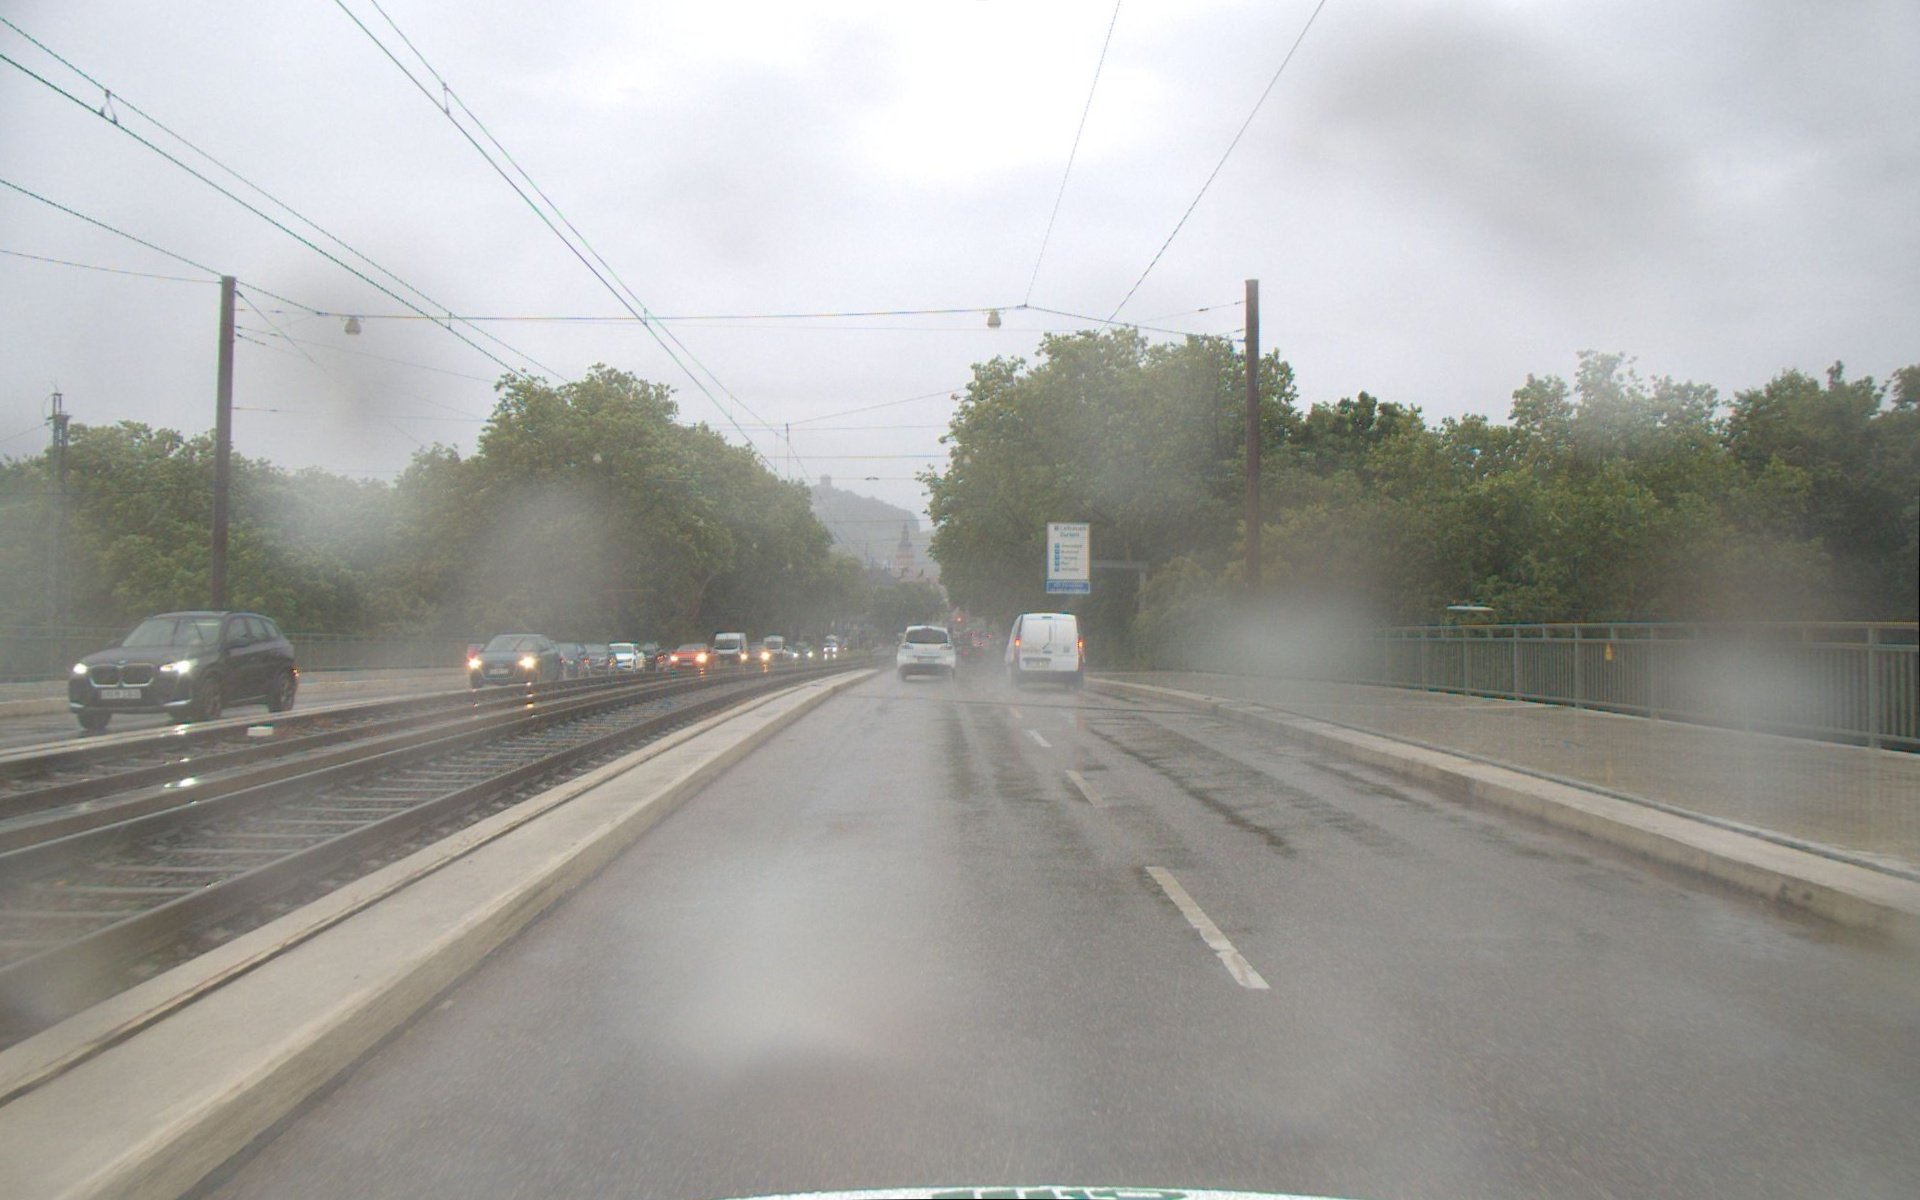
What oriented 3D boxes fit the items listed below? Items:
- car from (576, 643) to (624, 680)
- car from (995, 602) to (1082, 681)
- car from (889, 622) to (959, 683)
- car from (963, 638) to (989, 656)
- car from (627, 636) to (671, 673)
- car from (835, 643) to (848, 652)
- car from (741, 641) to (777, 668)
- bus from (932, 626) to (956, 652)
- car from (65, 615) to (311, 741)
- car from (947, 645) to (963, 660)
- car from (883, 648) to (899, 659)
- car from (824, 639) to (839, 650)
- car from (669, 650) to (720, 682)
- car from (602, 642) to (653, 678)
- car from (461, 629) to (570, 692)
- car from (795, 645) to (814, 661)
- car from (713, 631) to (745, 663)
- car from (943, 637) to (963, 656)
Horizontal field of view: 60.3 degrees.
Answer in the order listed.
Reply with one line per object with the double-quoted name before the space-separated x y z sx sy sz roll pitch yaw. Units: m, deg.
"car" -15.422 2.627 70.997 1.477 1.425 4.403 -2 -1 -5
"car" 1.850 0.984 40.034 1.952 1.756 4.000 1 -1 1
"car" -1.060 1.578 50.751 1.952 1.747 4.000 1 -1 1
"car" 1.247 3.665 129.537 1.952 1.344 4.000 1 -1 1
"car" -15.672 2.721 83.509 1.475 1.701 4.831 -2 -1 -2
"car" -18.415 7.421 257.819 1.768 1.374 4.262 -2 -1 -1
"car" -12.927 3.494 106.599 1.779 1.392 4.265 1 2 0
"bus" -2.505 6.001 257.930 3.320 3.904 9.739 1 -1 1
"car" -11.341 1.092 24.624 1.781 1.683 3.999 1 -1 -1
"car" -0.600 6.745 213.621 1.952 1.859 4.000 1 -1 1
"car" -10.006 7.736 238.973 1.767 1.374 4.266 -2 -1 4
"car" -18.073 6.287 233.156 1.768 1.374 4.262 -2 -1 -1
"car" -12.380 3.086 77.315 1.763 1.339 4.083 1 -1 -1
"car" -15.543 2.765 77.494 1.476 1.425 4.891 -5 0 -2
"car" -11.652 1.551 43.633 1.763 1.508 4.083 1 -1 -1
"car" -15.085 5.116 160.647 1.475 1.425 4.706 -2 -1 0
"car" -16.948 3.397 121.740 1.706 2.207 5.811 -2 -1 -2
"car" -0.678 4.831 173.057 1.952 1.859 4.000 1 -1 1
